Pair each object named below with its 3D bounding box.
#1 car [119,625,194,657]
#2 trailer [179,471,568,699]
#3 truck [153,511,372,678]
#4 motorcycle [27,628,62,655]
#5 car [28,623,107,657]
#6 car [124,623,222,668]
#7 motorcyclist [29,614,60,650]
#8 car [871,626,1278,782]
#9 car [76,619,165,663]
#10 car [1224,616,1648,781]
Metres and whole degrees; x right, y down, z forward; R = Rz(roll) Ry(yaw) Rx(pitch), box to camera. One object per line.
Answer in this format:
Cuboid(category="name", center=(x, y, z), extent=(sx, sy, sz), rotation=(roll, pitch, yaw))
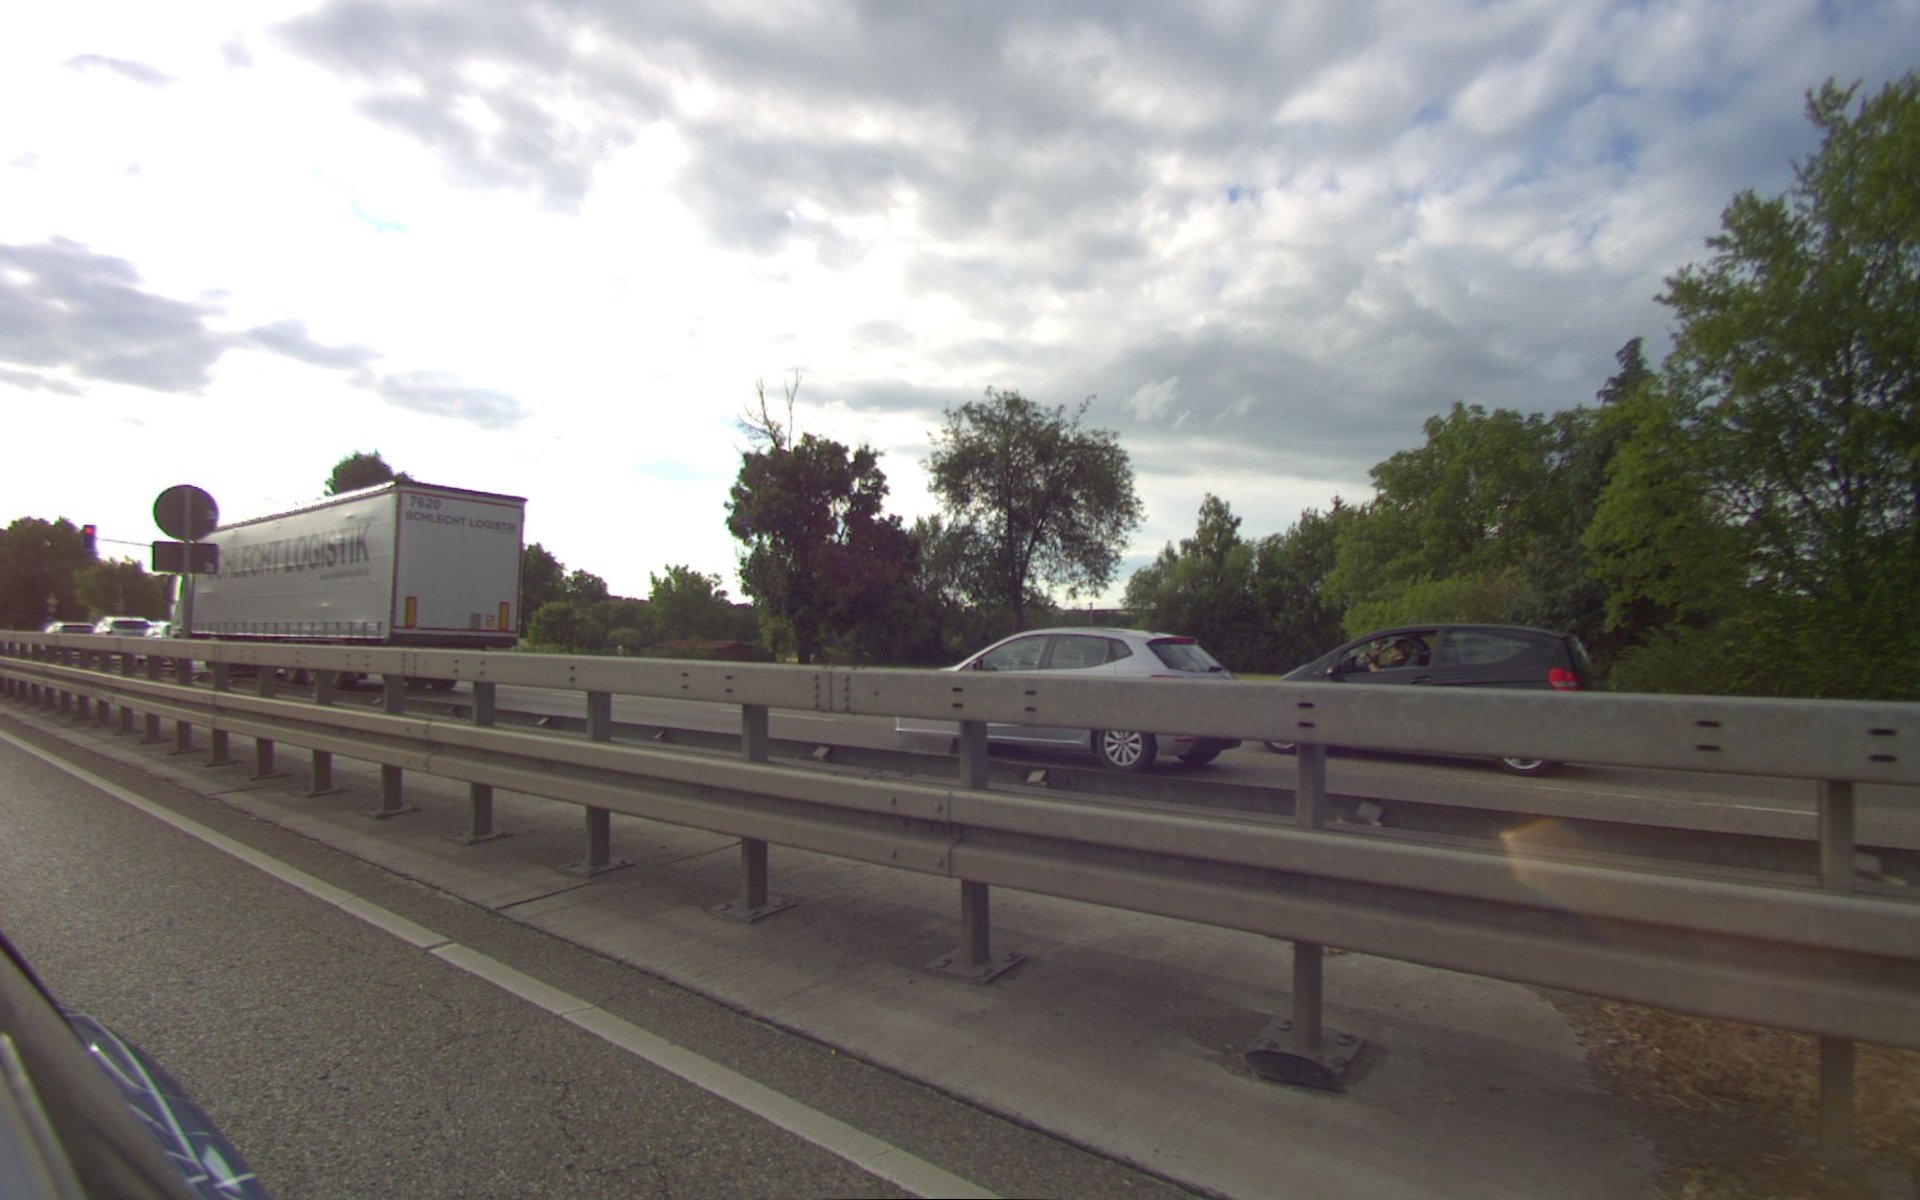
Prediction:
Cuboid(category="car", center=(-39.800, 2.003, 50.085), extent=(4.934, 1.547, 1.888), rotation=(-1, -3, 40))
Cuboid(category="trailer", center=(-14.697, -0.098, 24.345), extent=(13.904, 4.182, 3.430), rotation=(-1, -4, 40))
Cuboid(category="truck", center=(-19.777, -0.014, 28.613), extent=(6.044, 4.182, 3.439), rotation=(-1, -4, 40))
Cuboid(category="motorcycle", center=(-44.328, 1.998, 48.975), extent=(2.477, 1.212, 0.907), rotation=(-1, -3, 40))
Cuboid(category="car", center=(-40.306, 1.795, 45.663), extent=(5.147, 1.439, 1.888), rotation=(-1, -3, 40))
Cuboid(category="car", center=(-26.744, 1.516, 34.343), extent=(4.156, 1.455, 1.771), rotation=(-1, -3, 40))
Cuboid(category="motorcyclist", center=(-44.328, 1.539, 48.987), extent=(1.275, 1.722, 0.907), rotation=(-1, -3, 40))
Cuboid(category="car", center=(1.127, 0.992, 11.092), extent=(4.156, 1.396, 1.771), rotation=(-1, -3, 40))
Cuboid(category="car", center=(-33.004, 1.594, 39.755), extent=(4.401, 1.622, 1.888), rotation=(-1, -3, 40))
Cuboid(category="car", center=(5.388, 1.004, 11.759), extent=(4.156, 1.585, 1.771), rotation=(-1, -3, 40))
